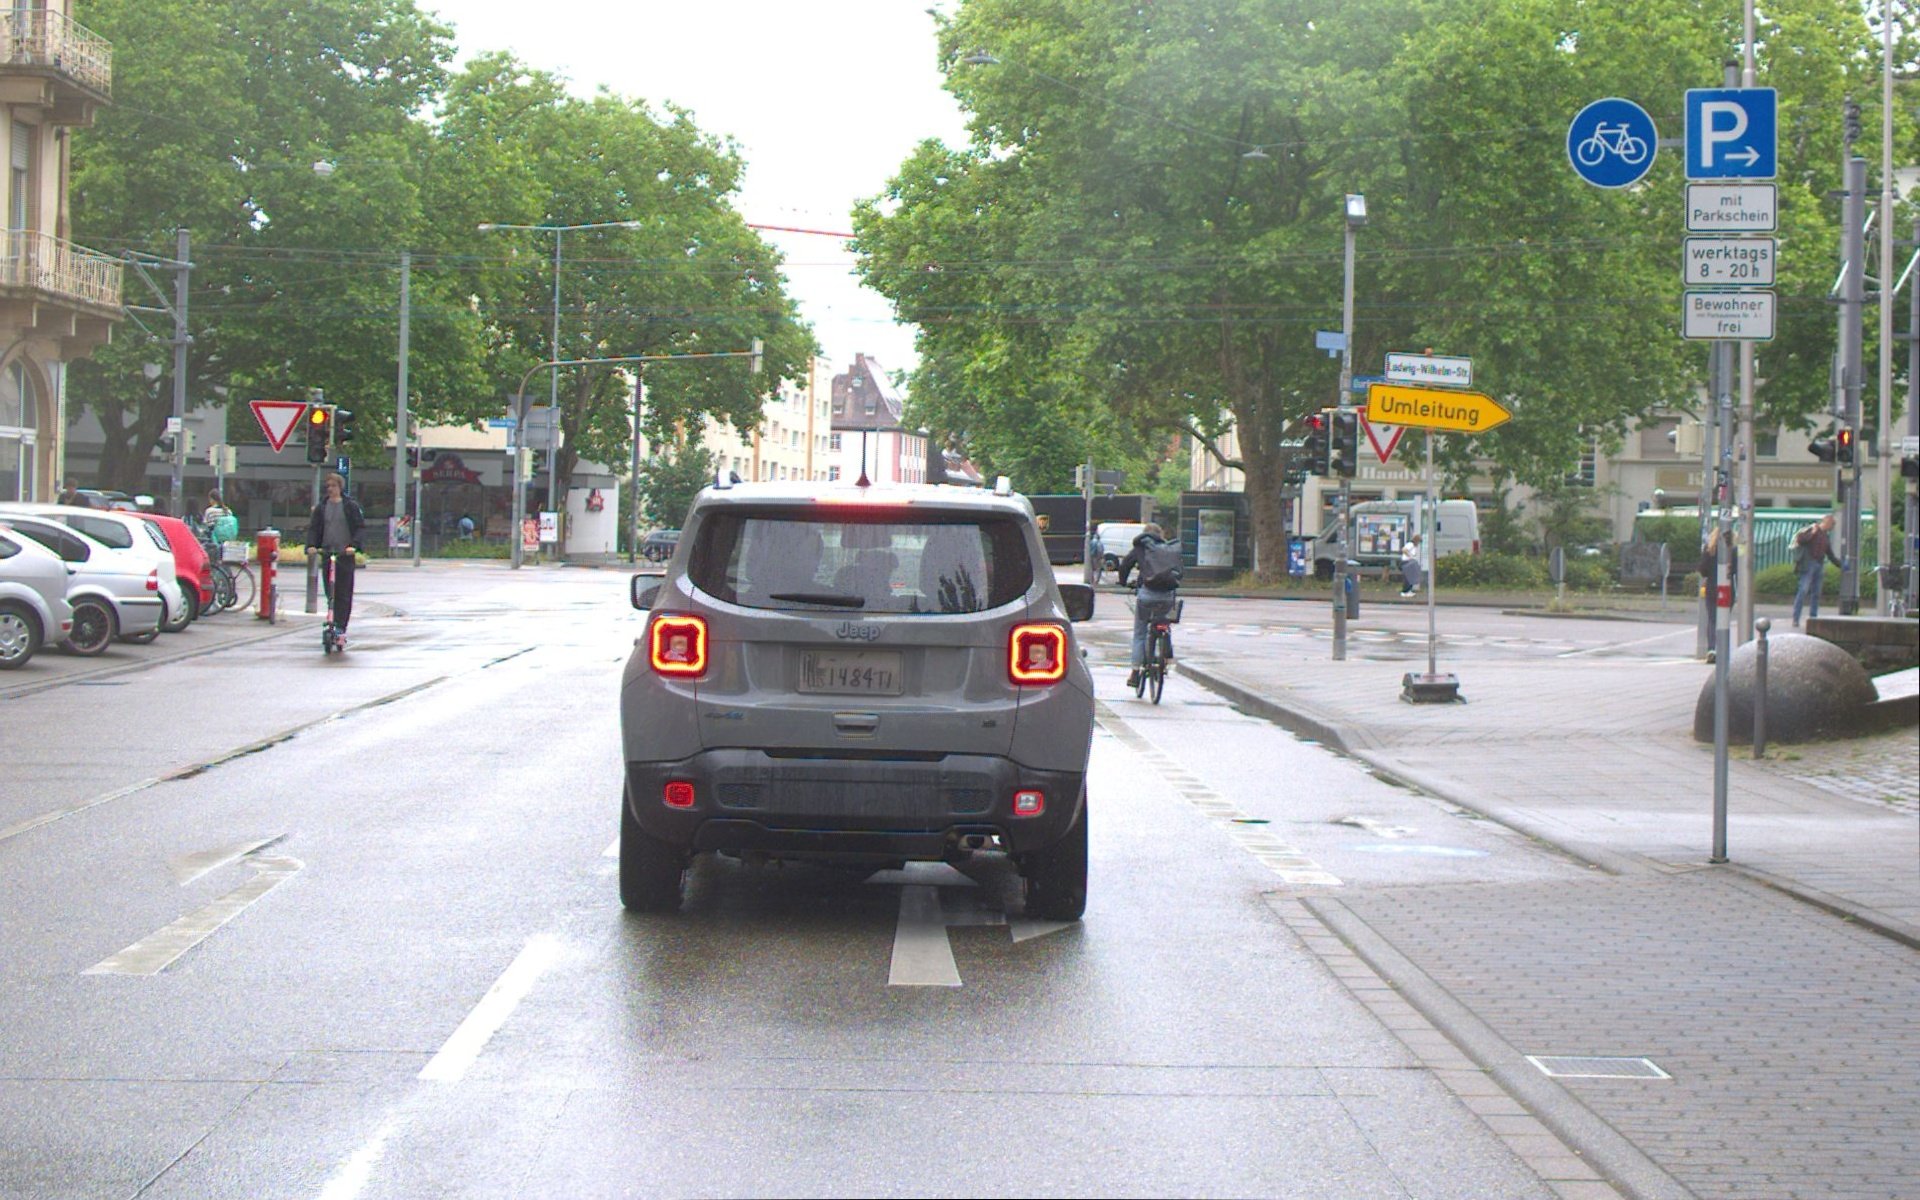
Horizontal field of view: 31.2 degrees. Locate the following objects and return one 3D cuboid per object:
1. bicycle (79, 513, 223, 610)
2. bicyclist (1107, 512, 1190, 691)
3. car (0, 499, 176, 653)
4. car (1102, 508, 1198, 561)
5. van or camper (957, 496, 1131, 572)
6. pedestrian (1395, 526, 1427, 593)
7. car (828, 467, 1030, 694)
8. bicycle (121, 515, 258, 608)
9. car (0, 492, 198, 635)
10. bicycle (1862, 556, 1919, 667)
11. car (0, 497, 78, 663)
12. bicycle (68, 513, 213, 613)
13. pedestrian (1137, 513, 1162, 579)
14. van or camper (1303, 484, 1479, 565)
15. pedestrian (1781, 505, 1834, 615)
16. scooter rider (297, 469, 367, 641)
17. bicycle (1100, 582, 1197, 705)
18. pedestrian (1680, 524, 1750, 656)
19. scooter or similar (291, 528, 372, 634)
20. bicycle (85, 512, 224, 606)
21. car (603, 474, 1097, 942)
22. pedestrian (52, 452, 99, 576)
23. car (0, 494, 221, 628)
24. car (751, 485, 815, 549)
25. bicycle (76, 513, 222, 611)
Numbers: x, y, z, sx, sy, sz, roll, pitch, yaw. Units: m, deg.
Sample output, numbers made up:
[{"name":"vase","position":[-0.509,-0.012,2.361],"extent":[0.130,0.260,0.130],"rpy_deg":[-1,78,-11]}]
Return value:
[{"name":"bicycle","position":[-10.871,-0.523,46.236],"extent":[1.810,1.262,0.498],"rpy_deg":[1,1,-1]},{"name":"bicyclist","position":[1.724,0.006,31.550],"extent":[0.687,1.612,0.884],"rpy_deg":[0,1,-1]},{"name":"car","position":[-10.059,-0.273,35.517],"extent":[3.393,1.552,1.705],"rpy_deg":[0,2,-39]},{"name":"car","position":[7.317,-2.517,132.238],"extent":[3.438,2.007,1.547],"rpy_deg":[1,1,14]},{"name":"van or camper","position":[3.365,-2.656,138.403],"extent":[6.536,2.902,2.491],"rpy_deg":[2,1,27]},{"name":"pedestrian","position":[10.764,-0.973,82.094],"extent":[0.613,1.598,0.493],"rpy_deg":[2,1,25]},{"name":"car","position":[-0.283,-0.227,32.945],"extent":[1.770,2.007,4.000],"rpy_deg":[1,1,0]},{"name":"bicycle","position":[-10.783,-0.541,48.142],"extent":[1.763,1.262,0.608],"rpy_deg":[1,1,-1]},{"name":"car","position":[-10.445,-0.423,38.318],"extent":[3.393,1.552,1.705],"rpy_deg":[0,2,-39]},{"name":"bicycle","position":[10.182,0.112,37.457],"extent":[0.329,1.150,2.075],"rpy_deg":[1,1,5]},{"name":"car","position":[-10.231,-0.216,32.212],"extent":[3.393,1.552,1.705],"rpy_deg":[0,2,-39]},{"name":"bicycle","position":[-10.724,-0.489,45.004],"extent":[1.763,1.262,0.522],"rpy_deg":[1,1,-1]},{"name":"pedestrian","position":[5.810,-1.663,105.584],"extent":[0.651,2.007,0.482],"rpy_deg":[2,1,13]},{"name":"van or camper","position":[13.436,-2.368,107.436],"extent":[5.260,2.307,2.090],"rpy_deg":[2,2,4]},{"name":"pedestrian","position":[13.805,-0.658,55.986],"extent":[0.786,1.753,0.945],"rpy_deg":[1,1,15]},{"name":"scooter rider","position":[-7.117,-0.512,38.960],"extent":[0.710,1.928,0.504],"rpy_deg":[1,1,-2]},{"name":"bicycle","position":[1.713,0.378,31.606],"extent":[0.691,1.018,2.658],"rpy_deg":[0,2,-1]},{"name":"pedestrian","position":[9.479,-0.133,43.180],"extent":[0.783,1.640,0.654],"rpy_deg":[1,1,17]},{"name":"scooter or similar","position":[-7.118,-0.227,38.976],"extent":[0.700,1.161,1.385],"rpy_deg":[1,1,-2]},{"name":"bicycle","position":[-11.065,-0.569,47.269],"extent":[1.763,1.262,0.608],"rpy_deg":[1,1,-1]},{"name":"car","position":[-0.424,0.340,14.330],"extent":[1.775,1.681,3.848],"rpy_deg":[0,2,-1]},{"name":"pedestrian","position":[-14.583,-1.416,56.667],"extent":[0.567,2.007,0.655],"rpy_deg":[1,1,0]},{"name":"car","position":[-10.824,-0.483,41.282],"extent":[3.393,1.552,1.705],"rpy_deg":[0,2,-39]},{"name":"car","position":[-5.050,-2.366,97.614],"extent":[1.721,1.733,3.730],"rpy_deg":[1,1,-4]},{"name":"bicycle","position":[-10.741,-0.511,45.551],"extent":[1.810,1.262,0.498],"rpy_deg":[1,1,-1]}]
